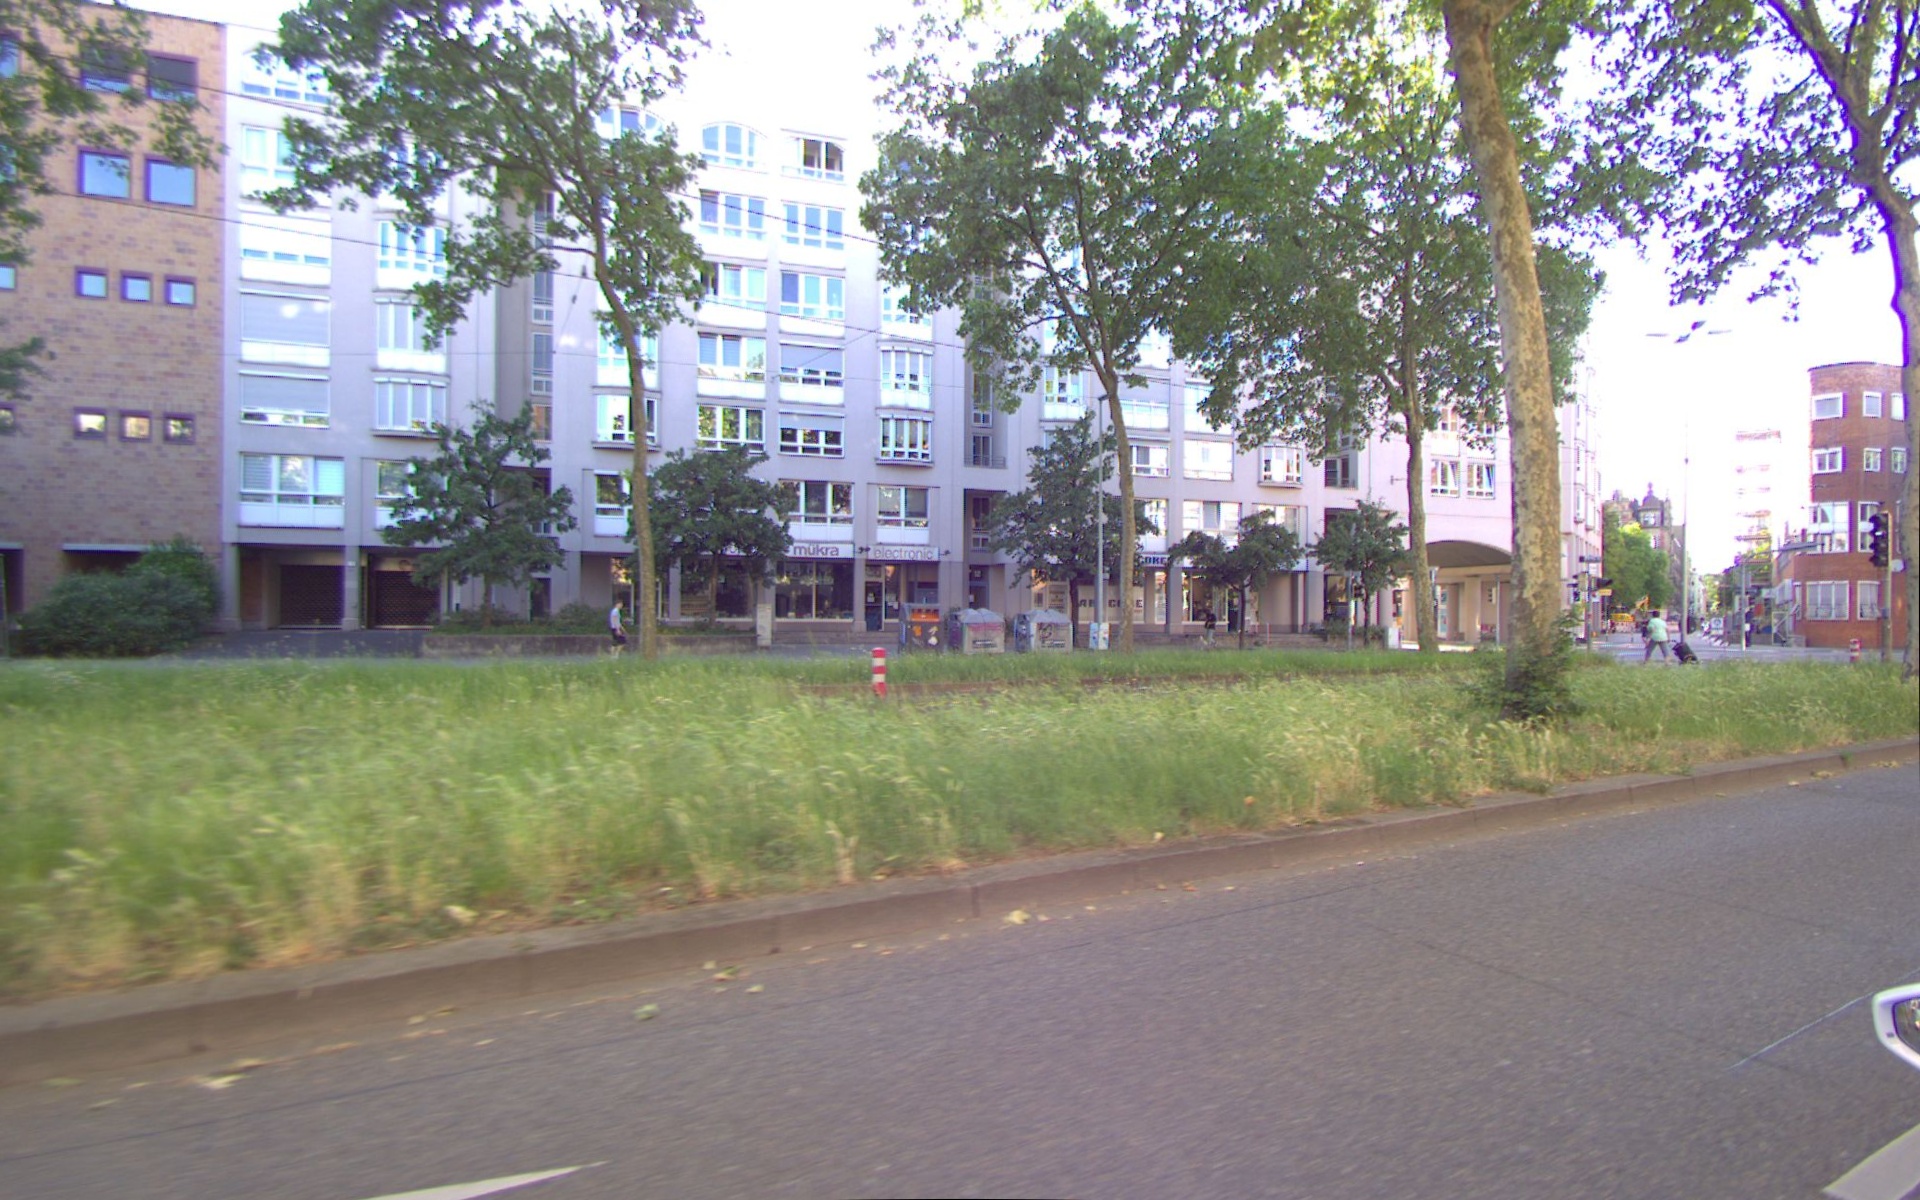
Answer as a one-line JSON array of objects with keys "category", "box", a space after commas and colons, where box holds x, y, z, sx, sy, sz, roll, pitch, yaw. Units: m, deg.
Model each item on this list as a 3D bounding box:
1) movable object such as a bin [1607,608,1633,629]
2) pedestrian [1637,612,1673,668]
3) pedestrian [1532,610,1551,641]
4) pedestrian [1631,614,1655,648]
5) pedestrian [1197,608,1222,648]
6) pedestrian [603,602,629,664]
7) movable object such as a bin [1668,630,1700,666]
[{"category": "movable object such as a bin", "box": [72.489, 2.045, 110.296, 2.769, 2.341, 1.908, 1, -1, -44]}, {"category": "pedestrian", "box": [19.266, 1.090, 27.847, 0.526, 1.523, 0.618, 0, 0, -16]}, {"category": "pedestrian", "box": [37.718, 1.648, 65.108, 0.881, 2.040, 0.827, 1, -1, -42]}, {"category": "pedestrian", "box": [38.204, 1.734, 56.182, 0.742, 1.894, 0.853, 1, -1, -24]}, {"category": "pedestrian", "box": [10.468, 1.169, 42.132, 0.776, 1.660, 0.706, 1, 0, -20]}, {"category": "pedestrian", "box": [-9.928, 0.948, 28.998, 0.639, 1.763, 0.726, 0, 0, -25]}, {"category": "movable object such as a bin", "box": [19.703, 1.308, 27.338, 0.530, 0.966, 0.510, 1, 0, -16]}]
